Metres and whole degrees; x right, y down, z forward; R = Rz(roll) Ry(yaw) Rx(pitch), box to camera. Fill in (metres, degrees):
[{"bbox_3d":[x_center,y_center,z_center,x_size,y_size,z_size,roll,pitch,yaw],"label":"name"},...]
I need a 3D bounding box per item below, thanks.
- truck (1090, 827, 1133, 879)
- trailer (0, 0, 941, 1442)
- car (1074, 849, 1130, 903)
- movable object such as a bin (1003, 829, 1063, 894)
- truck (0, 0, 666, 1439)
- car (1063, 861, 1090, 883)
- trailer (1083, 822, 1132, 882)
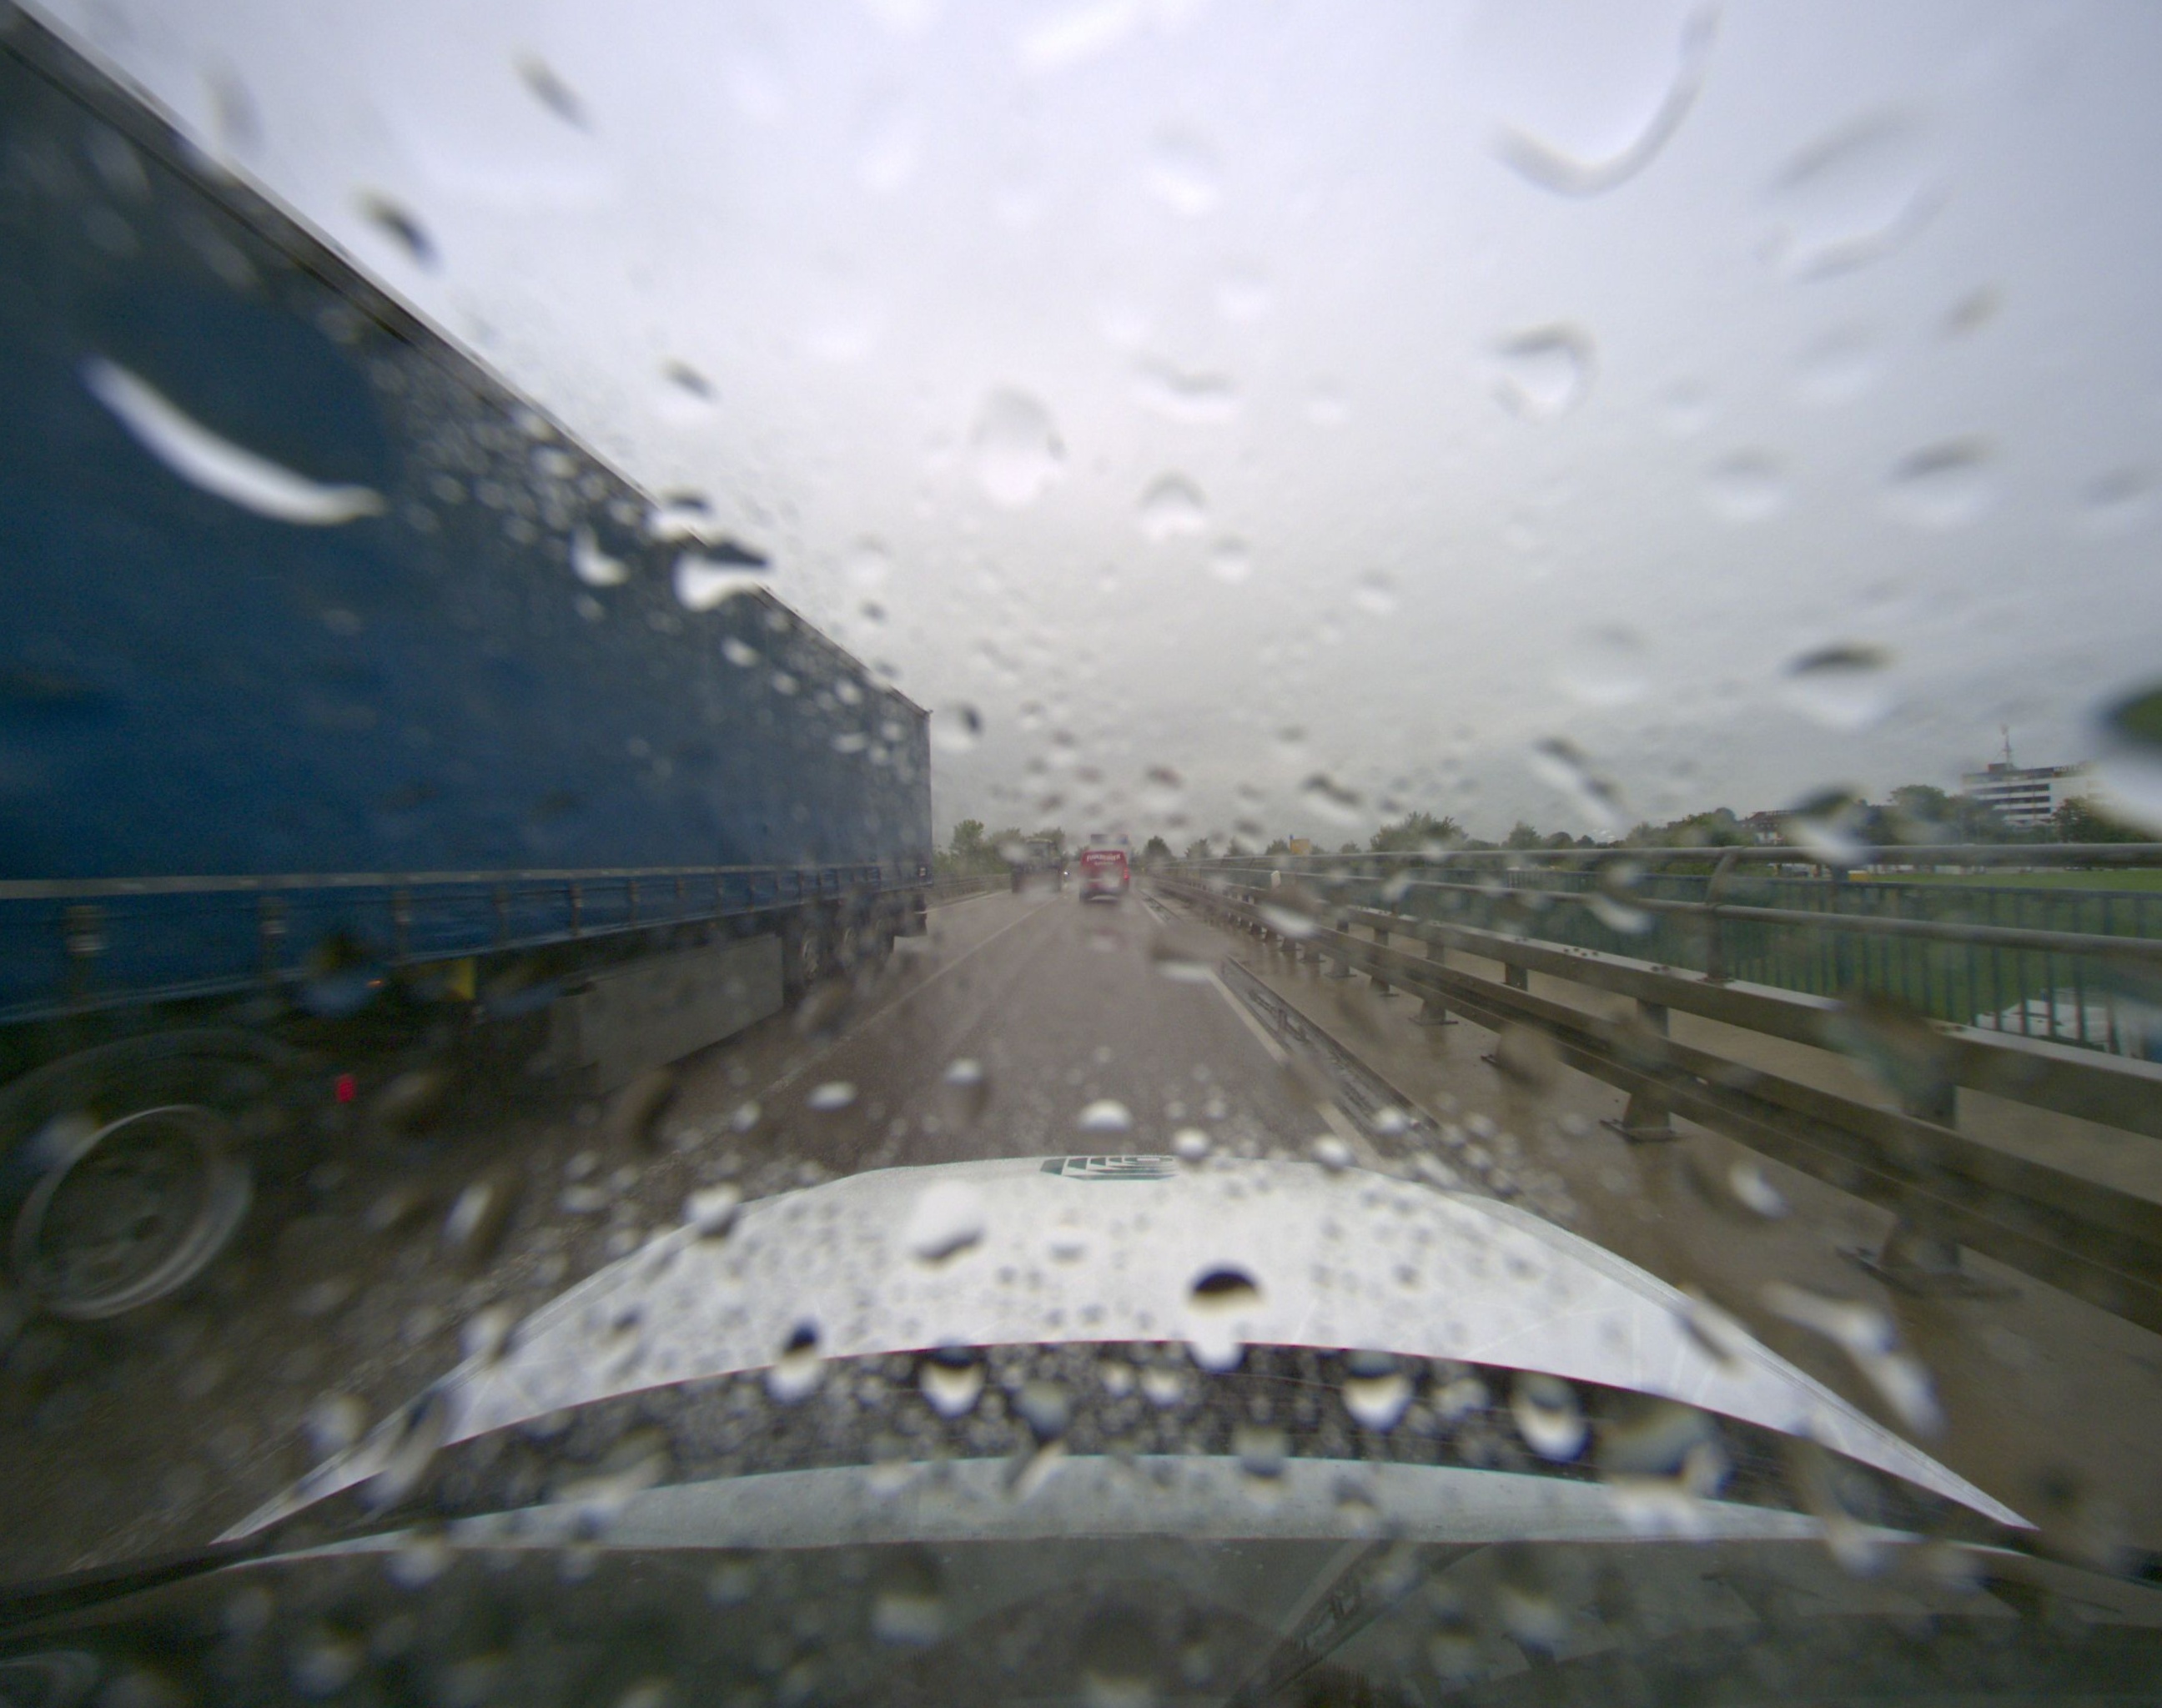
[{"bbox_3d":[2.619,-0.015,67.385,3.187,3.922,8.747,1,-1,4],"label":"truck"},{"bbox_3d":[-4.037,-0.453,7.340,2.807,3.970,13.739,-1,0,1],"label":"trailer"},{"bbox_3d":[0.787,0.767,31.249,1.986,1.925,4.144,0,0,1],"label":"car"},{"bbox_3d":[-2.652,0.440,46.514,2.737,3.445,4.647,-2,-1,3],"label":"movable object such as a bin"},{"bbox_3d":[-4.186,-0.491,0.820,2.808,3.970,8.765,-1,0,1],"label":"truck"},{"bbox_3d":[-0.368,1.597,74.039,2.057,1.837,4.935,-2,-1,3],"label":"car"},{"bbox_3d":[2.051,-0.102,58.635,3.187,3.922,8.747,1,-1,4],"label":"trailer"}]
